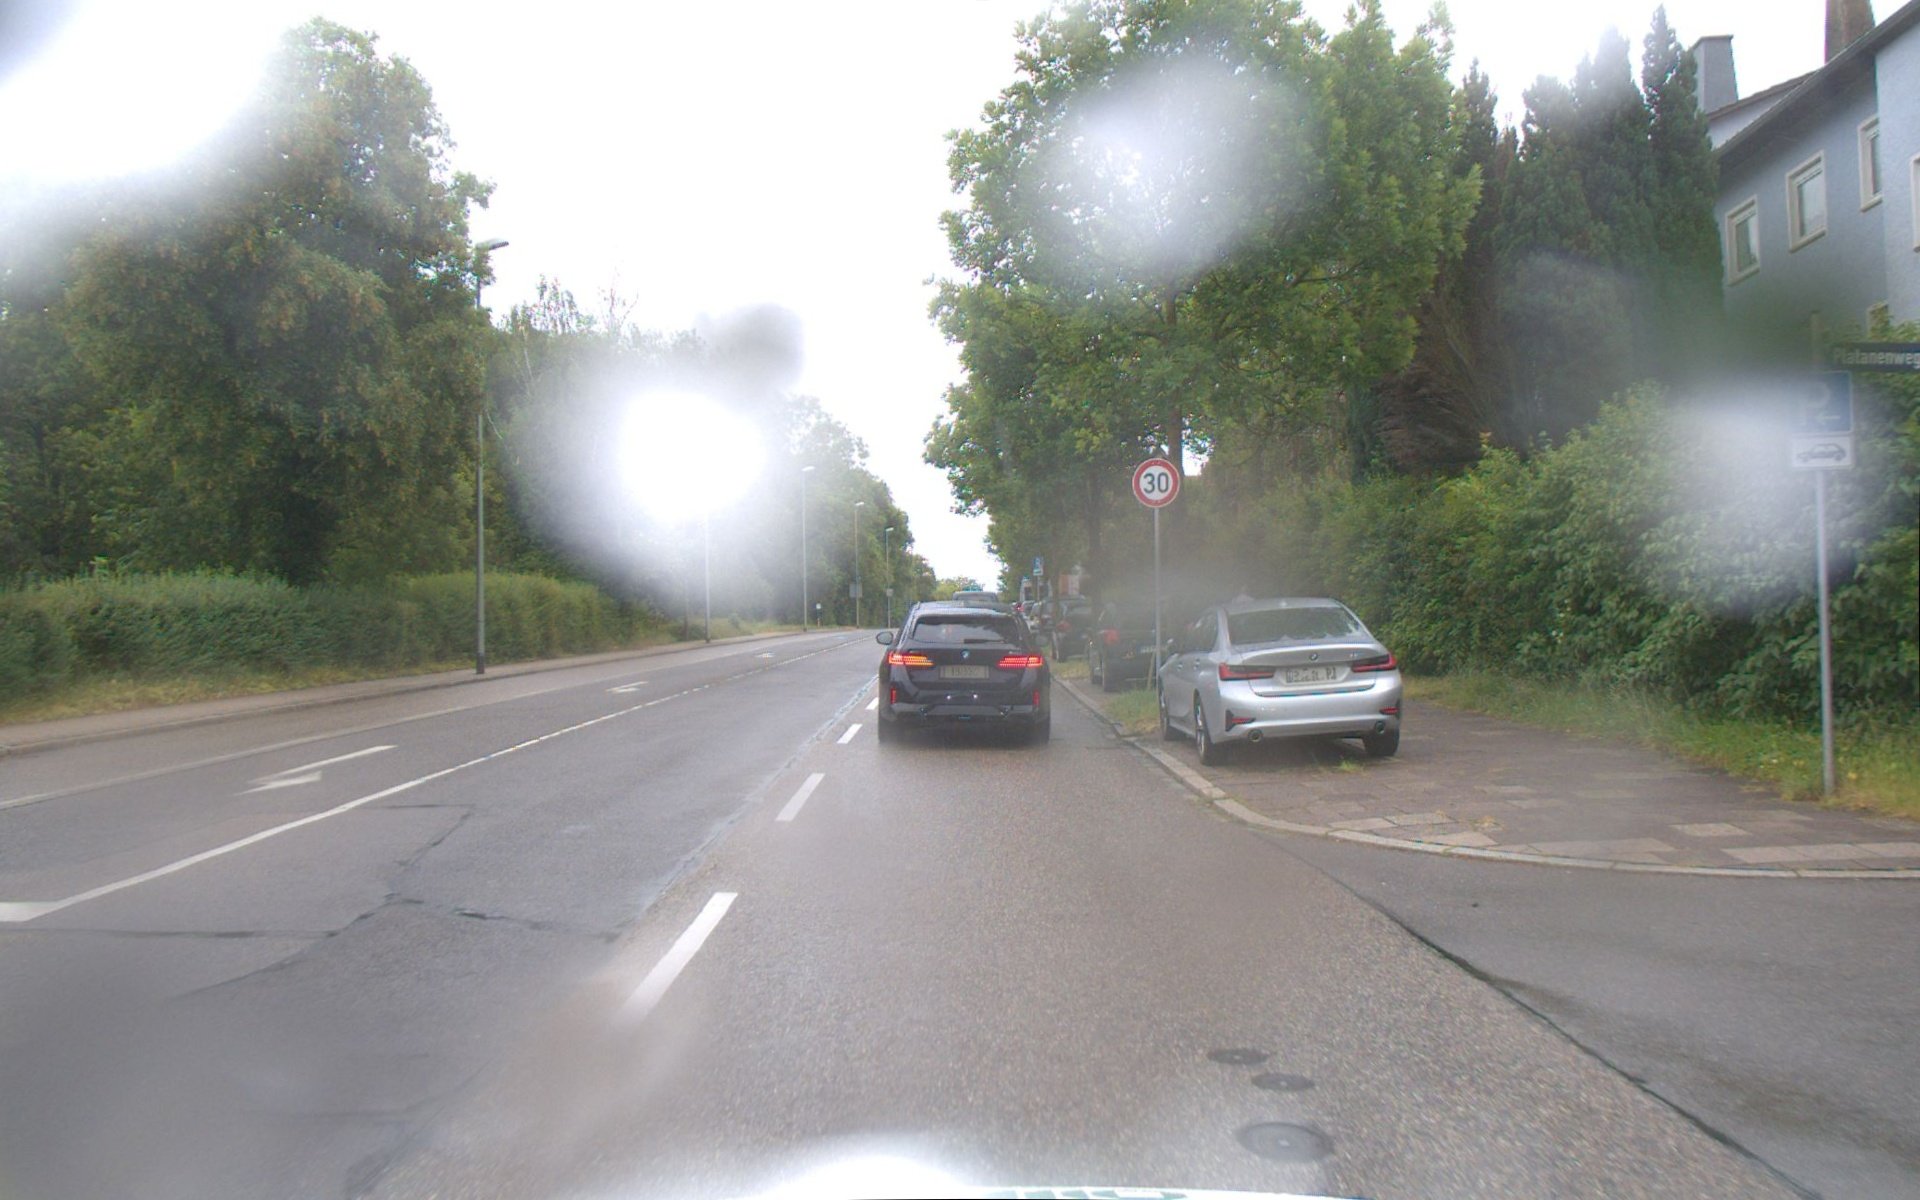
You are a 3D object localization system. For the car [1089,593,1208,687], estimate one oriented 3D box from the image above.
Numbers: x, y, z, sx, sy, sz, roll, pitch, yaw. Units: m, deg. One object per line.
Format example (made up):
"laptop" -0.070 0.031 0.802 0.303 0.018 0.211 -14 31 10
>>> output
"car" 3.170 0.638 28.401 1.557 1.486 3.561 -1 0 -1

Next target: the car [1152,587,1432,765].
"car" 3.070 0.640 16.232 1.895 1.467 4.408 -1 0 1

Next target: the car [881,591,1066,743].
"car" 0.119 0.676 18.866 1.858 1.515 3.999 1 0 -1

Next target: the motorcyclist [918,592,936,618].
"motorcyclist" -2.001 0.313 100.646 1.018 1.595 0.854 1 -1 -2

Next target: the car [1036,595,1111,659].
"car" 2.833 0.658 41.915 1.557 1.512 3.561 -1 0 -1

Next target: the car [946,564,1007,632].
"car" 0.445 -0.086 48.631 1.596 1.865 3.999 -2 1 -2
